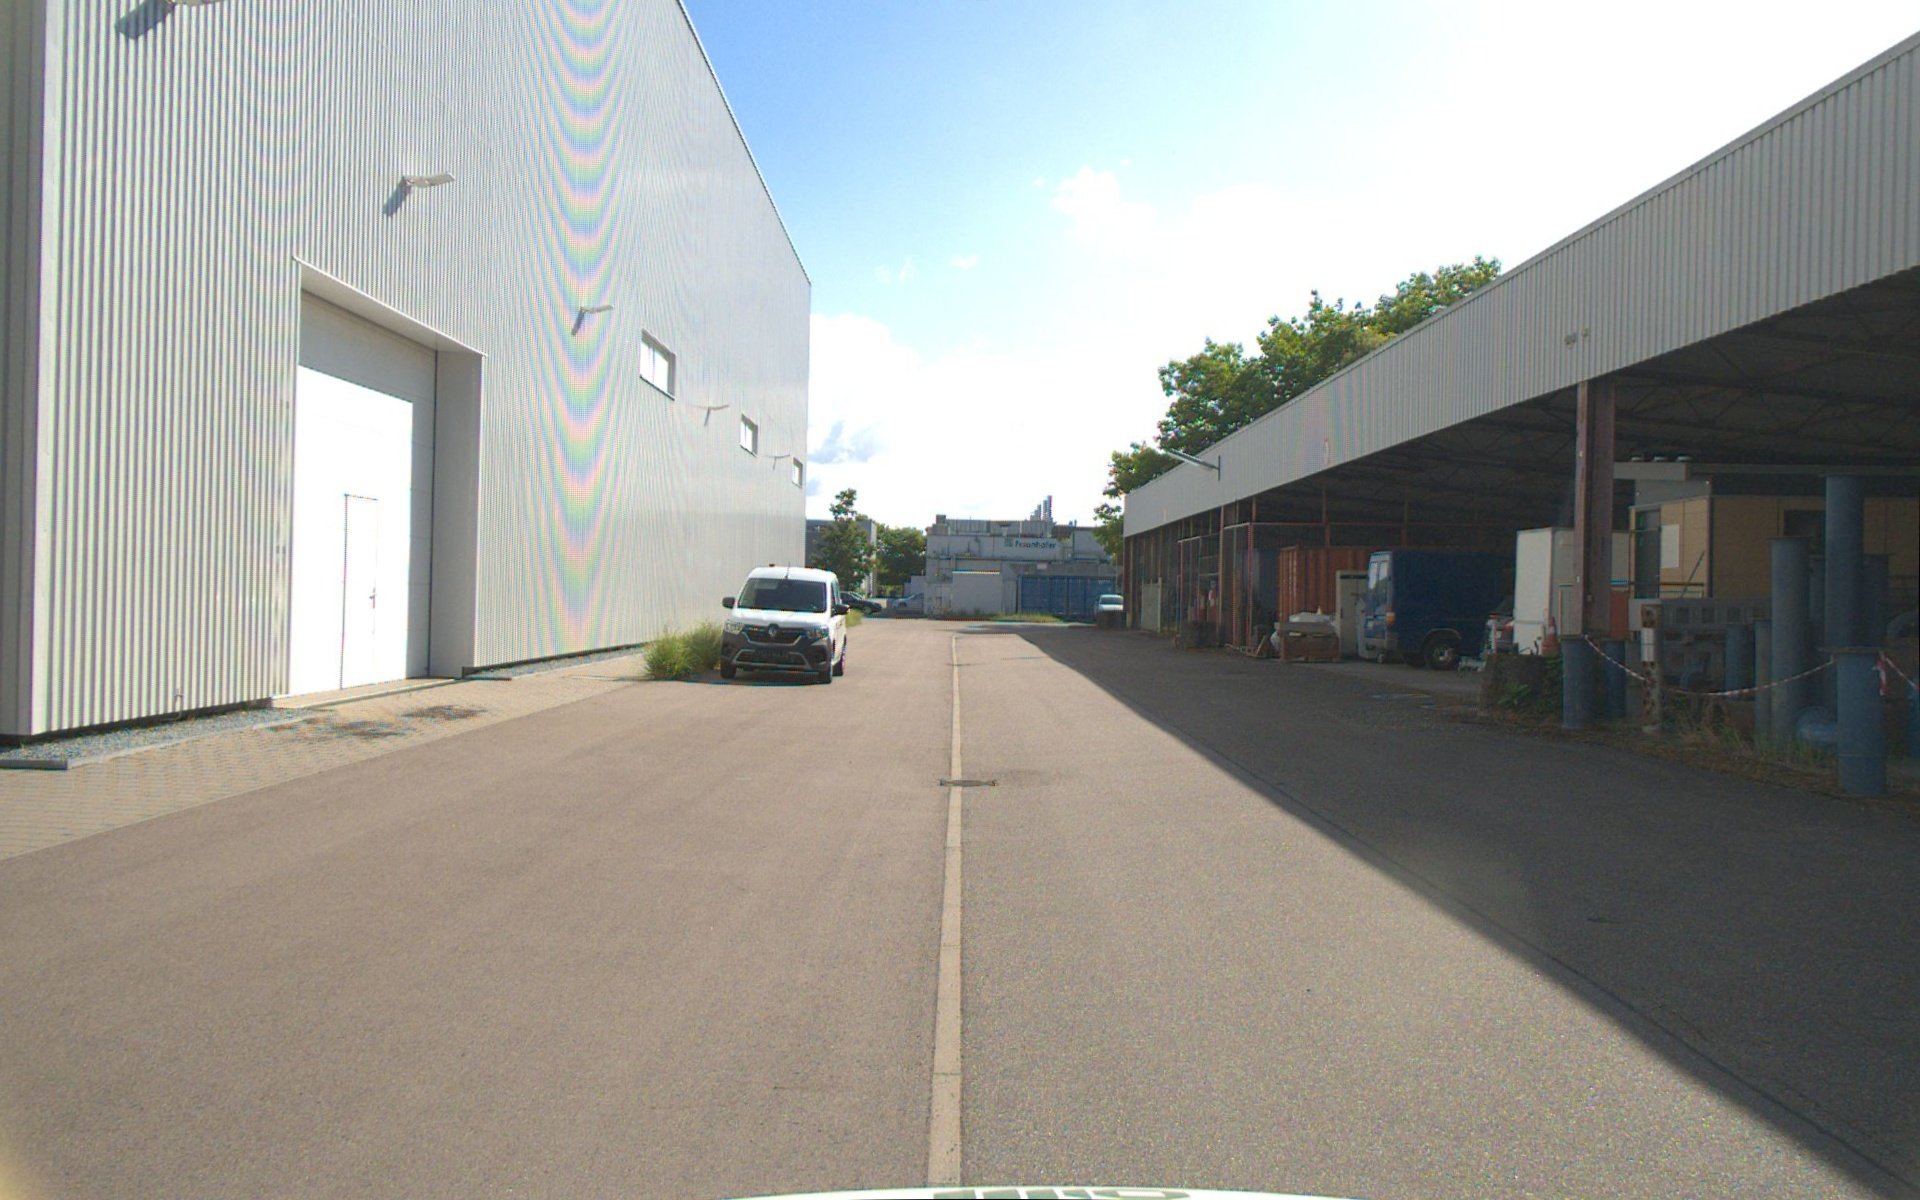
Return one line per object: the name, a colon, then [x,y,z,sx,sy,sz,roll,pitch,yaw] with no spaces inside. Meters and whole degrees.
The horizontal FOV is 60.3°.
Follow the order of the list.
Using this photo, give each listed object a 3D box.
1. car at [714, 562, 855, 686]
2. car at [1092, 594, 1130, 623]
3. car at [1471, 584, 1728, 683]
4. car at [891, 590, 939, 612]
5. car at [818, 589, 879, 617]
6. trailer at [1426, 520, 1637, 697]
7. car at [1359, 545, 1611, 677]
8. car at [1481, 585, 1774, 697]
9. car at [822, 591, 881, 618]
car: [-2.812,0.345,27.426,1.781,1.818,4.405,3,0,0]
car: [8.861,0.487,97.306,1.921,1.592,4.060,2,1,2]
car: [11.445,0.616,29.756,3.955,1.551,1.684,3,-2,0]
car: [-3.708,0.113,137.515,3.906,1.626,1.847,3,-2,-2]
car: [-7.351,0.204,109.609,3.906,1.626,1.741,3,-2,-2]
trailer: [8.257,0.128,24.045,2.471,2.441,1.727,1,-1,0]
car: [10.353,0.246,32.846,4.342,2.350,1.915,3,-2,0]
car: [10.552,0.664,26.326,3.955,1.551,1.684,3,-2,0]
car: [-7.357,0.300,112.608,3.906,1.626,1.706,3,-2,-2]
